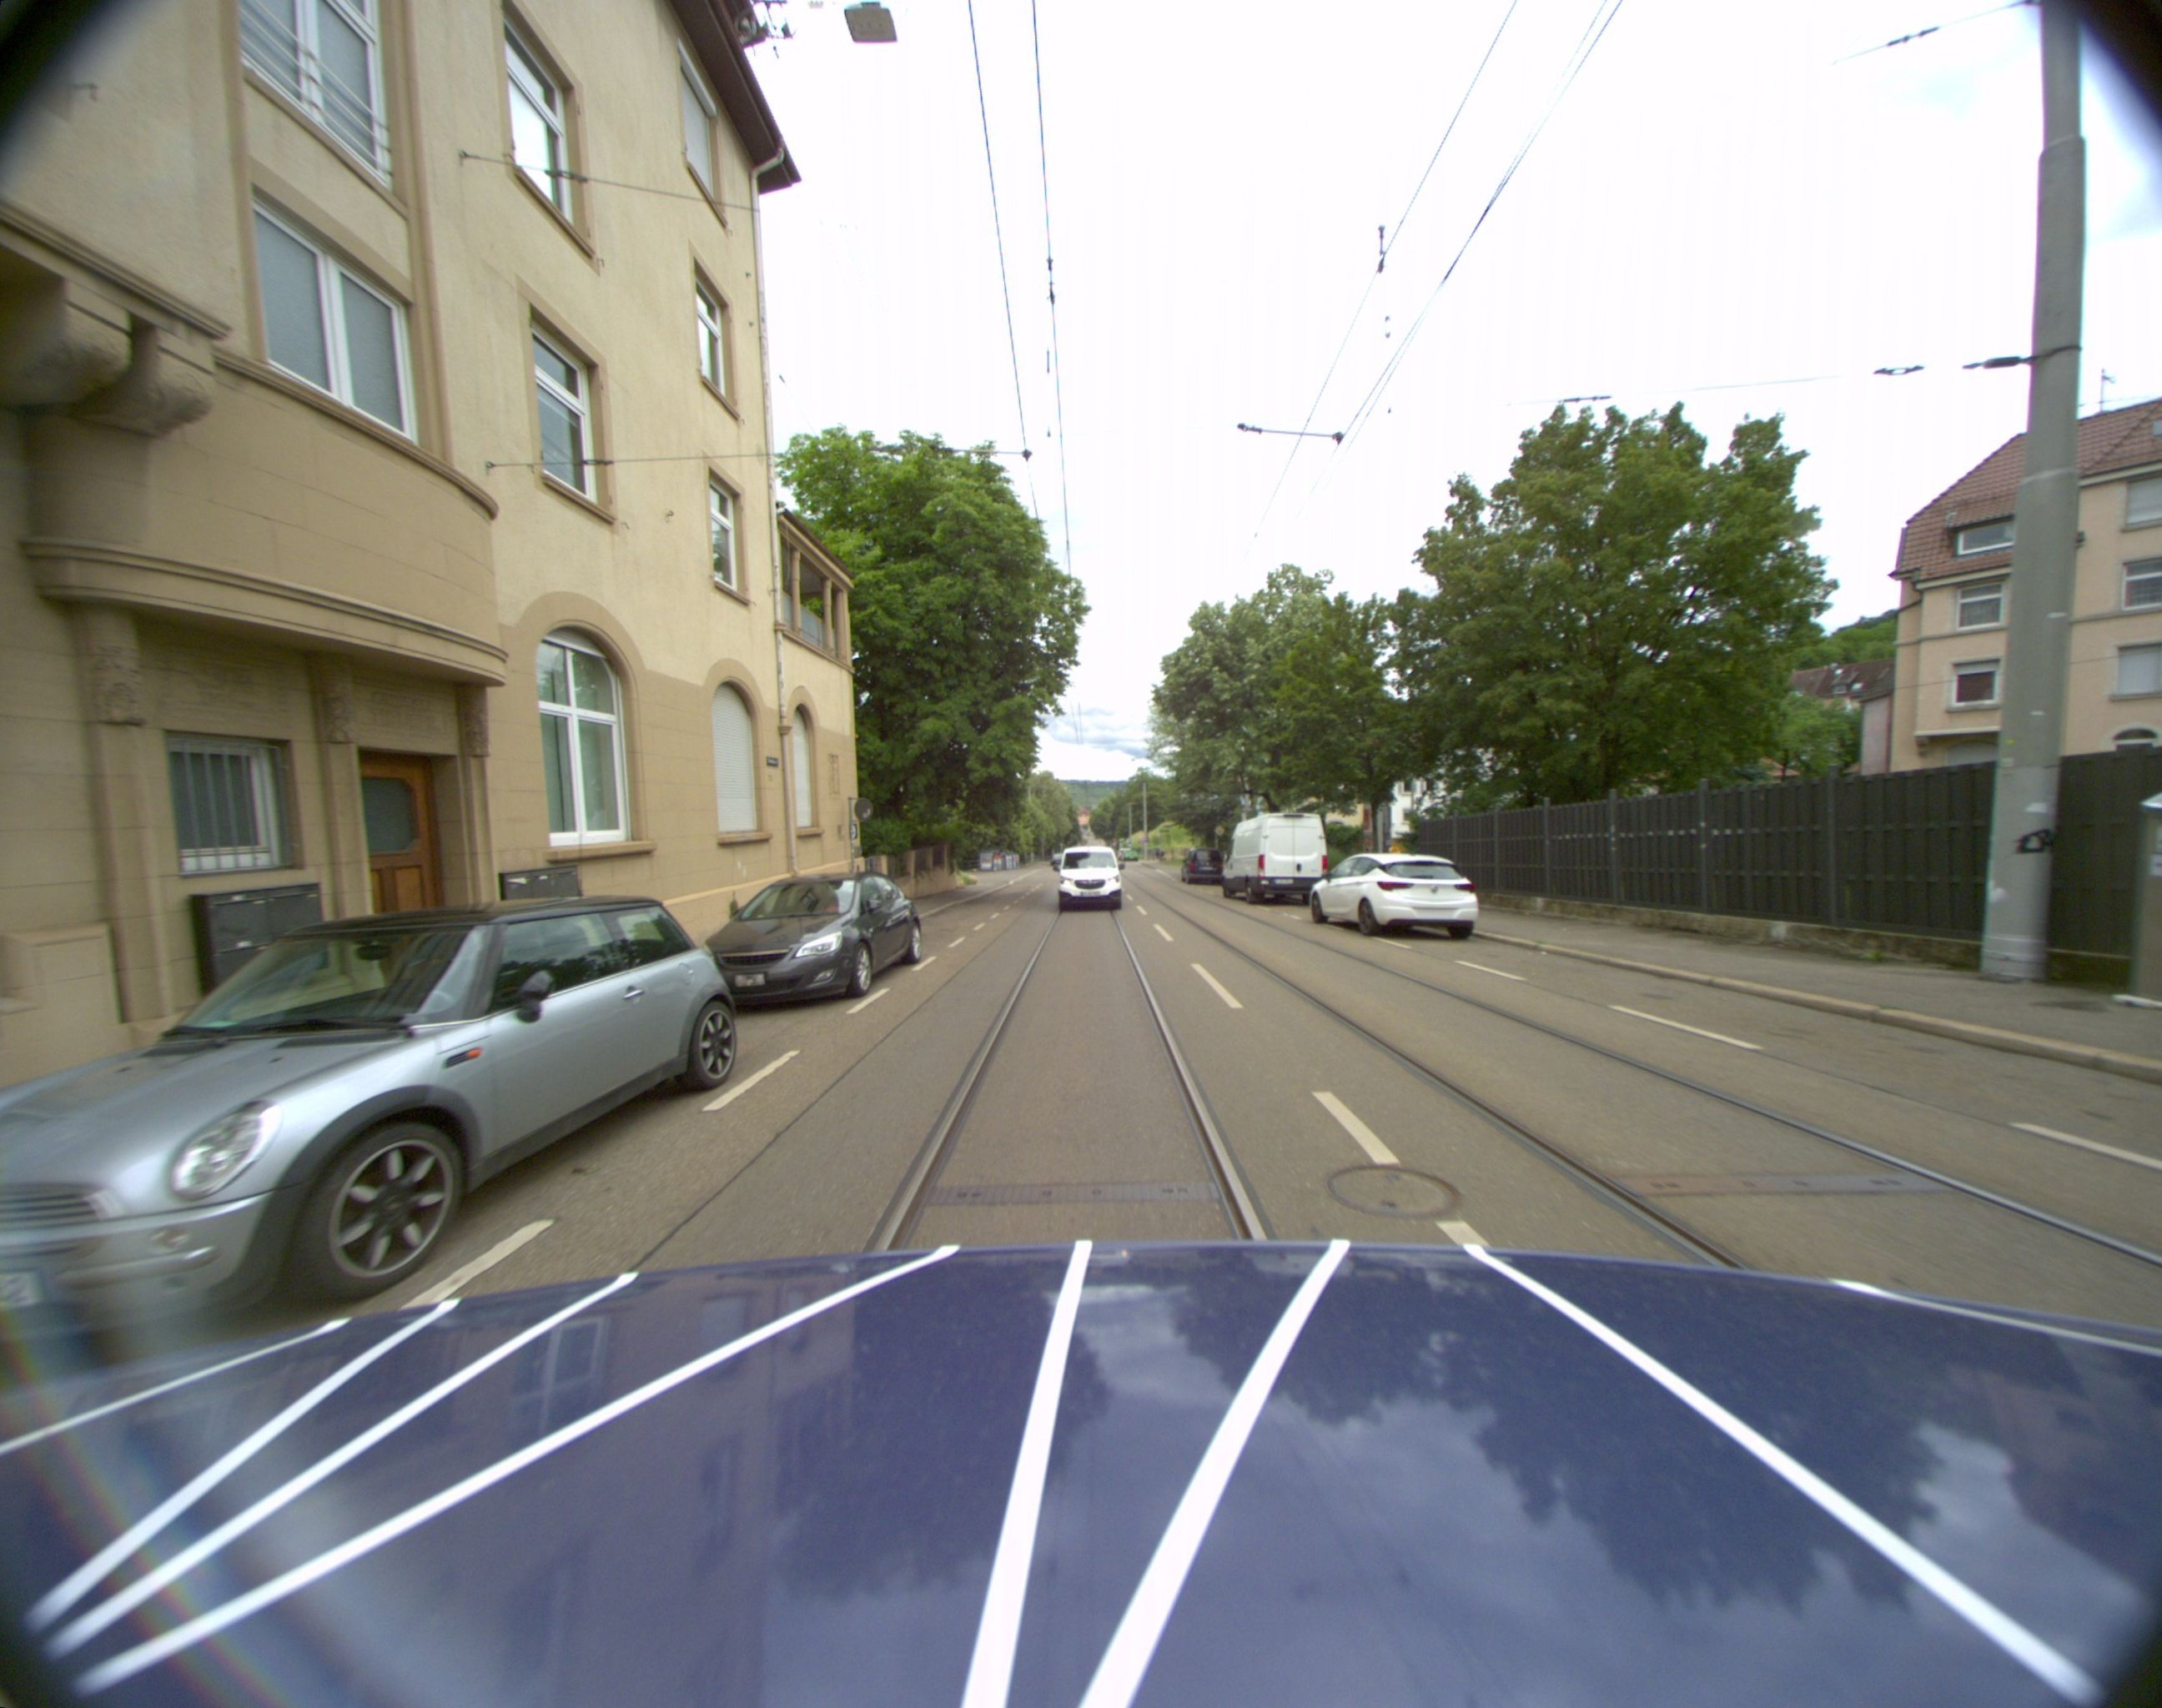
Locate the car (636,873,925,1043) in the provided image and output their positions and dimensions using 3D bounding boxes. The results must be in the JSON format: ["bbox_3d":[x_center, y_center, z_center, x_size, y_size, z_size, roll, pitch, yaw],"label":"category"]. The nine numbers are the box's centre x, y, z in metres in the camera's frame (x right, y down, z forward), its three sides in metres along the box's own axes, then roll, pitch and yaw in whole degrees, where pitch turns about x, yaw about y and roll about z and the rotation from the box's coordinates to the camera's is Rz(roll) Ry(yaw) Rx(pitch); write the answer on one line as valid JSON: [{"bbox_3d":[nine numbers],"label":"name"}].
[{"bbox_3d":[-3.373,1.078,9.544,1.844,1.395,4.167,-4,1,1],"label":"car"}]

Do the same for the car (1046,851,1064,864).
[{"bbox_3d":[-3.131,0.422,93.044,1.863,1.434,4.388,-4,0,1],"label":"car"}]

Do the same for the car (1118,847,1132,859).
[{"bbox_3d":[6.903,-0.178,119.038,1.901,1.935,4.290,1,1,1],"label":"car"}]

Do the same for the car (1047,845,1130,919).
[{"bbox_3d":[0.323,0.689,21.604,1.758,1.824,4.450,-2,1,8],"label":"car"}]

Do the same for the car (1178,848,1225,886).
[{"bbox_3d":[6.108,0.612,38.840,1.766,1.765,4.668,2,1,2],"label":"car"}]

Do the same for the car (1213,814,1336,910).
[{"bbox_3d":[5.893,0.219,24.148,2.164,2.591,6.218,1,0,-1],"label":"car"}]

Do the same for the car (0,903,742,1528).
[{"bbox_3d":[-3.463,1.123,3.842,1.699,1.396,3.667,-4,0,1],"label":"car"}]

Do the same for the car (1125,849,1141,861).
[{"bbox_3d":[6.771,0.146,99.371,1.856,1.532,3.948,-1,0,1],"label":"car"}]

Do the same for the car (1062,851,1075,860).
[{"bbox_3d":[-2.047,0.276,122.293,1.822,1.344,3.940,-3,0,2],"label":"car"}]

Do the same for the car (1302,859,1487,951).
[{"bbox_3d":[5.644,0.829,14.311,1.723,1.394,4.313,1,0,1],"label":"car"}]
